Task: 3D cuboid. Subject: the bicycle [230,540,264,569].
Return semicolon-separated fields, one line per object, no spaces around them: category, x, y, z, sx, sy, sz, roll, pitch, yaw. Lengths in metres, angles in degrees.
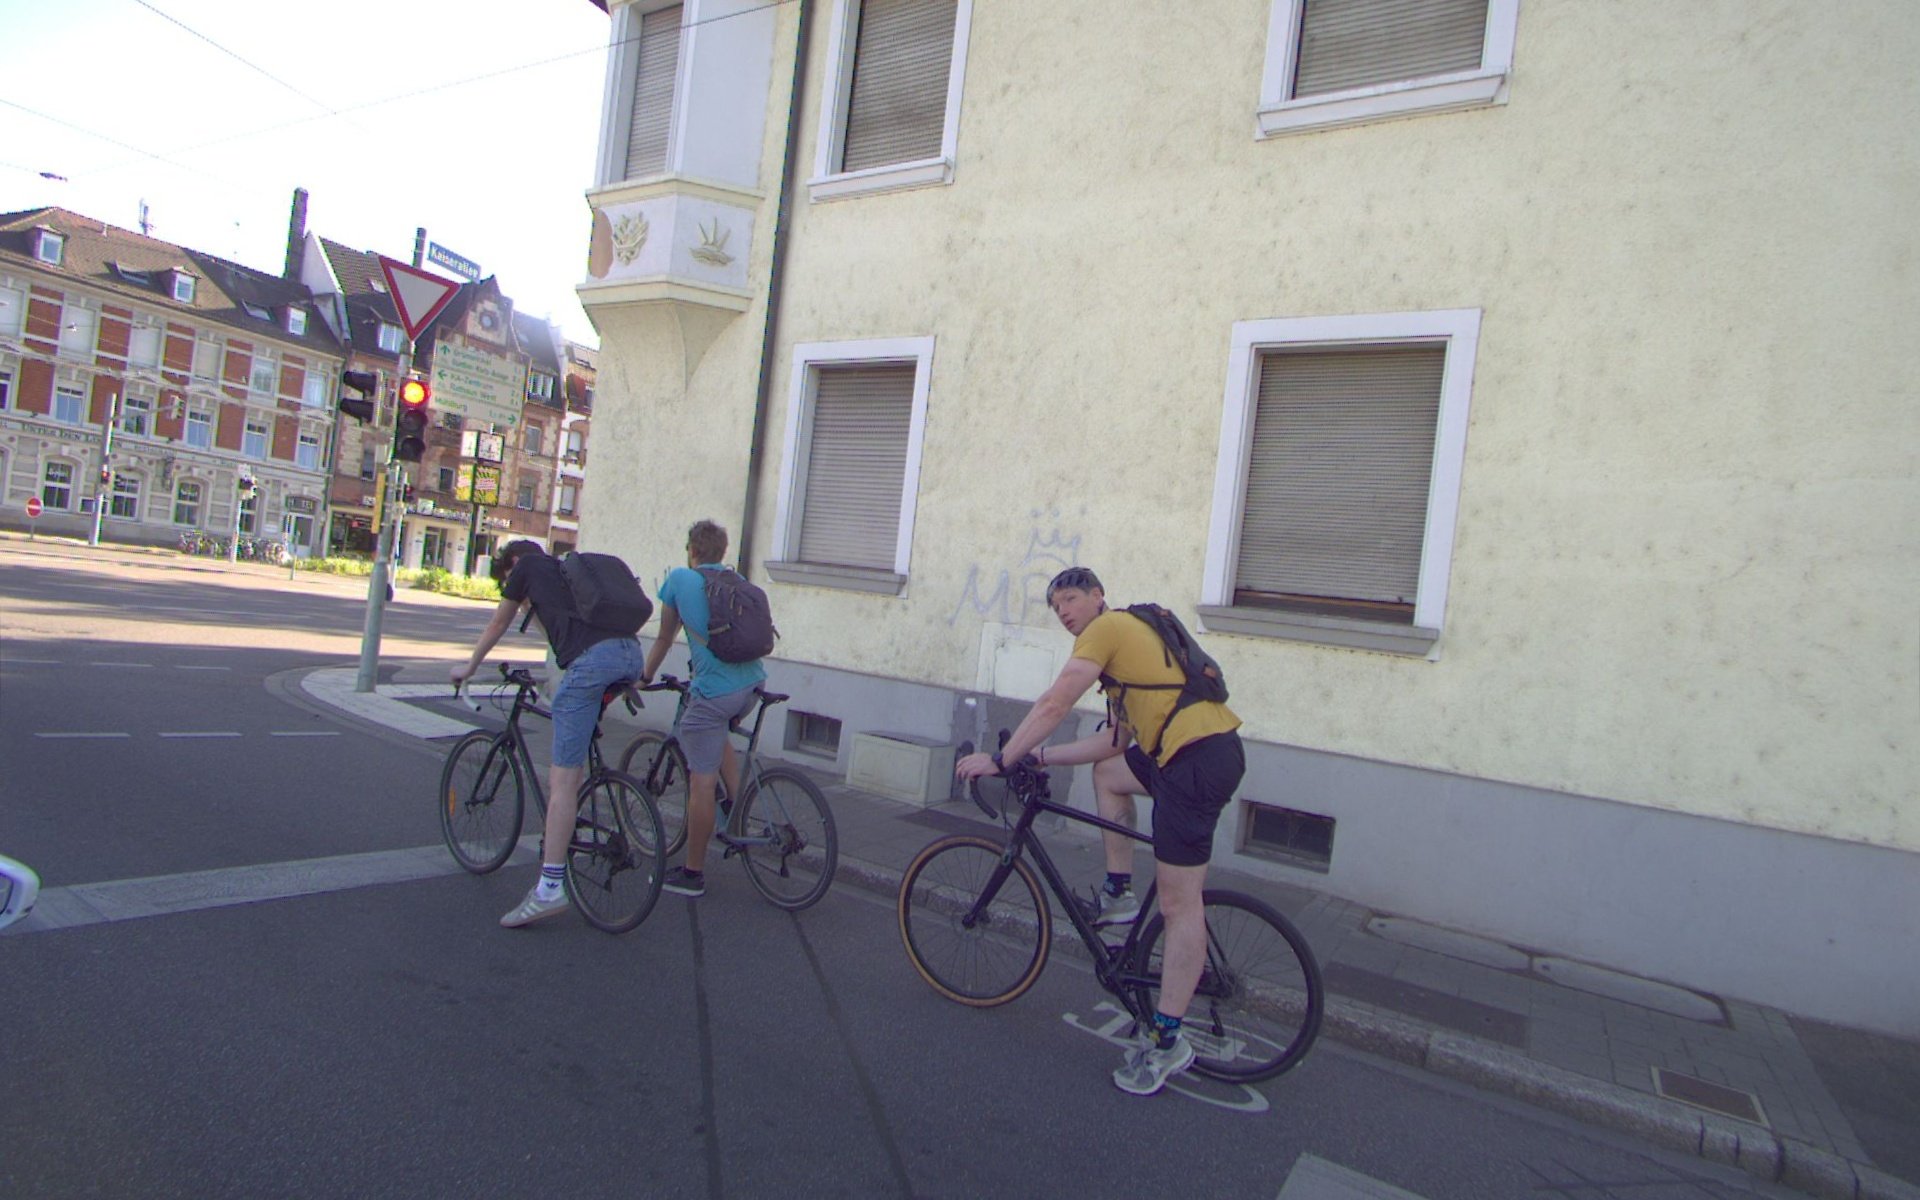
bicycle;-33.674;-2.160;47.511;2.140;1.157;0.618;7;0;37

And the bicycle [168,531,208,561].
bicycle;-35.057;-2.444;45.680;2.140;1.157;0.806;7;0;37

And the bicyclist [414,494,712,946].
bicyclist;-1.805;0.471;4.545;1.083;1.775;0.562;7;0;34

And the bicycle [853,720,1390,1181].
bicycle;0.549;1.145;3.765;1.780;1.101;0.611;7;0;32

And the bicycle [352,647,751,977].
bicycle;-1.917;0.853;4.590;1.897;1.023;0.645;7;0;34

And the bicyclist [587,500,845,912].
bicyclist;-1.272;0.498;5.245;0.961;1.917;0.602;6;-1;34

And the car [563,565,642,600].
car;-23.165;-1.121;65.320;2.116;1.660;4.340;7;-1;31

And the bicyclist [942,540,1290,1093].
bicyclist;0.583;0.714;3.761;0.939;1.742;0.582;7;0;32

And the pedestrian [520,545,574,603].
pedestrian;-16.563;-1.038;40.377;1.285;2.068;1.321;7;0;31

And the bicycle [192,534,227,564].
bicycle;-34.542;-2.355;46.282;2.140;1.157;0.618;7;0;37

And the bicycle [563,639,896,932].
bicycle;-1.256;0.884;5.280;1.784;1.130;0.519;7;0;34

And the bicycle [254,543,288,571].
bicycle;-33.109;-2.066;48.315;2.102;1.150;0.609;7;0;37

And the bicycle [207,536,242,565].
bicycle;-34.207;-2.307;46.759;2.140;1.157;0.618;7;0;37
